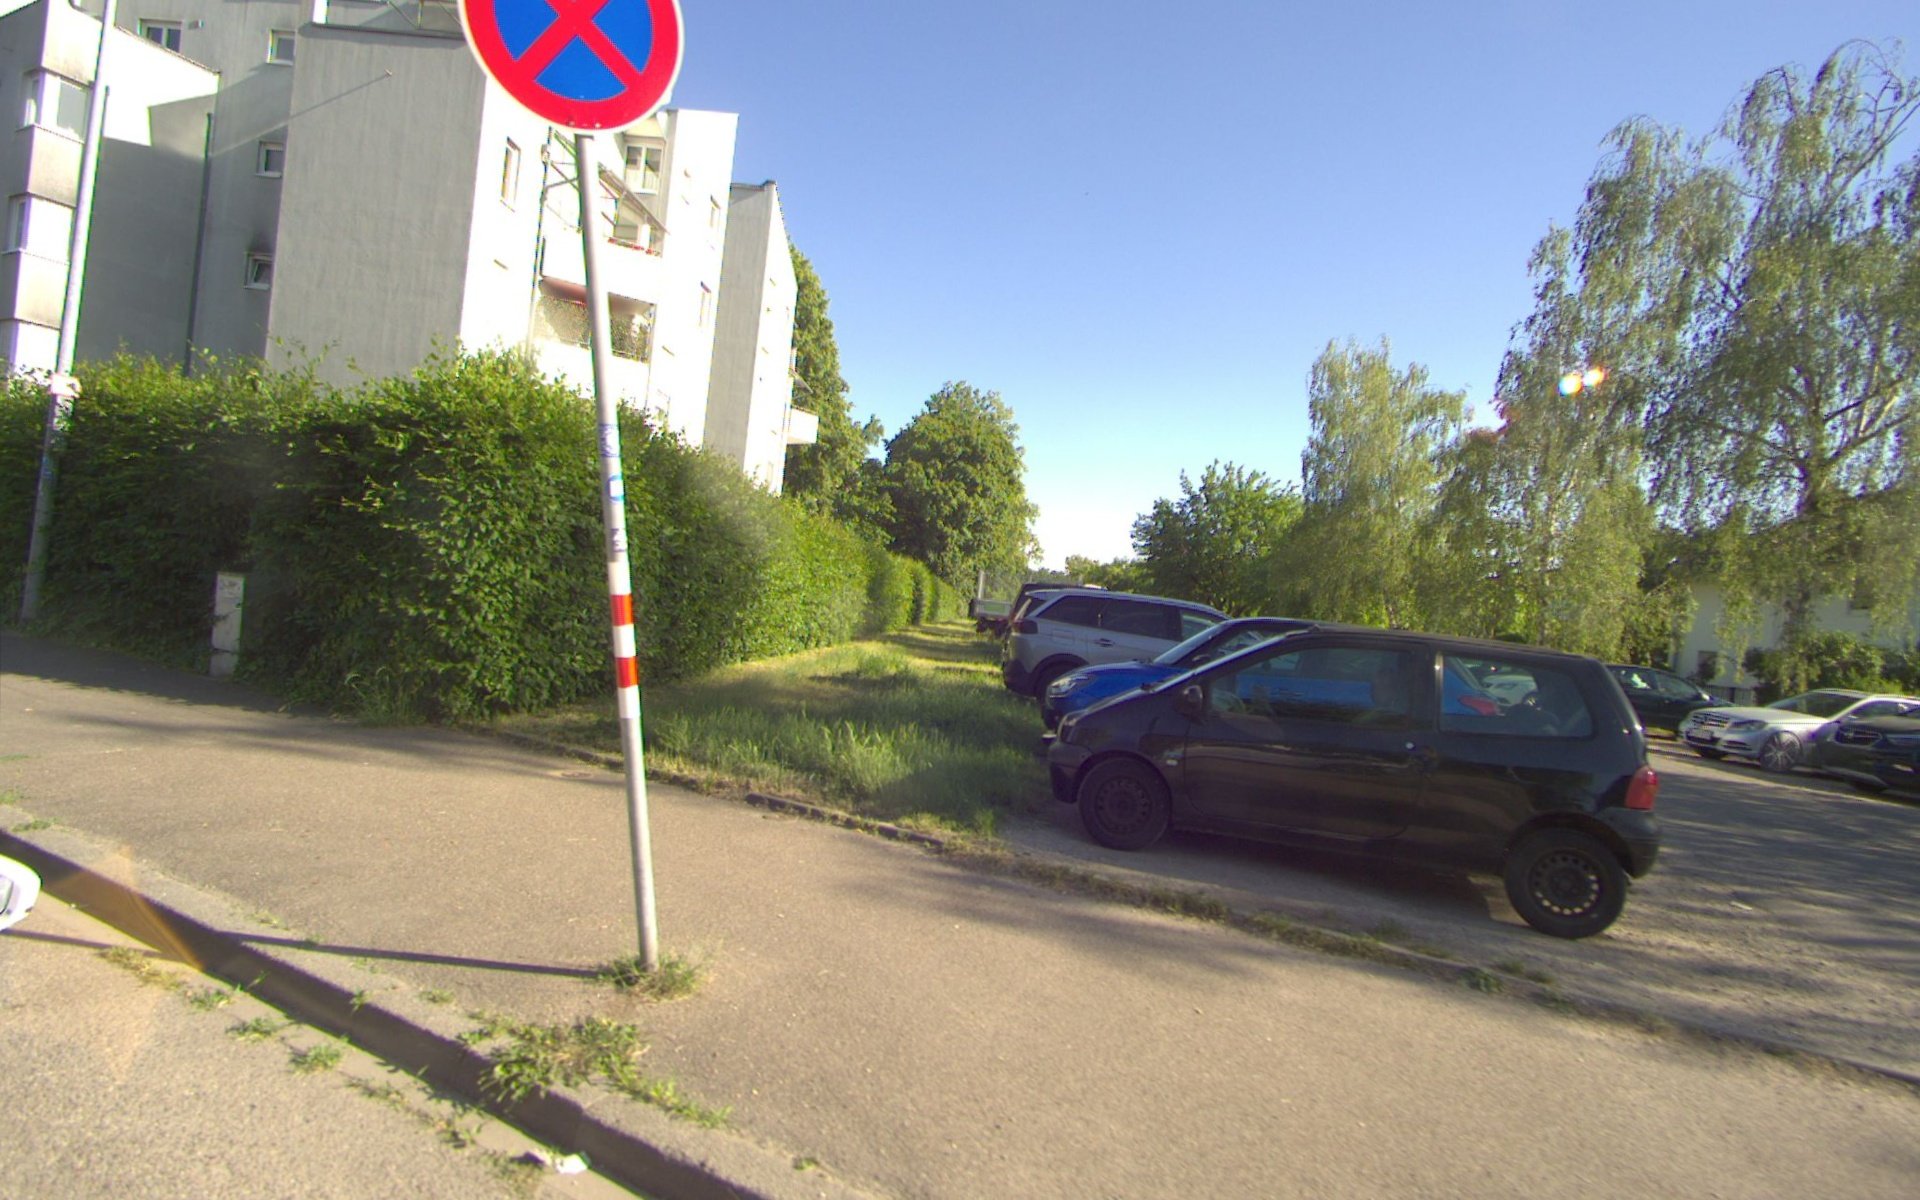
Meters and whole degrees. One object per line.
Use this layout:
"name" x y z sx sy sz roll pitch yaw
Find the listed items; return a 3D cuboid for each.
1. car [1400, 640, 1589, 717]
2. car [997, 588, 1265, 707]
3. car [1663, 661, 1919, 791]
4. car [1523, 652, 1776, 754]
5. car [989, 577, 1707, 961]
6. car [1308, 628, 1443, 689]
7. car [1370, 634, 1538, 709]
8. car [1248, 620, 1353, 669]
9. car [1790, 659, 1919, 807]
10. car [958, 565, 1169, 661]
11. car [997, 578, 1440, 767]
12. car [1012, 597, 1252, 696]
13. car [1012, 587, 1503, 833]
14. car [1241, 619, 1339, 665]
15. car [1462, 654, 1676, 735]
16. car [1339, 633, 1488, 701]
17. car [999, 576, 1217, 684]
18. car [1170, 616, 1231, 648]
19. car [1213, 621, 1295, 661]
"car" 14.126 2.052 26.787 3.924 1.418 1.798 7 0 7
"car" 2.704 0.756 16.633 4.078 1.473 1.619 5 0 2
"car" 14.153 2.078 16.377 4.042 1.519 1.789 7 2 -2
"car" 14.753 2.162 21.761 3.924 1.522 1.949 7 0 10
"car" 2.162 0.825 6.221 3.468 1.485 1.703 7 1 21
"car" 14.596 2.029 35.543 3.924 1.605 1.798 7 0 7
"car" 14.461 2.073 29.627 3.924 1.605 1.798 7 0 7
"car" 14.873 1.935 44.075 3.924 1.605 1.798 7 0 7
"car" 14.066 1.978 13.619 4.042 1.728 1.789 7 2 -2
"car" 3.170 0.394 31.556 6.159 2.174 2.411 7 1 2
"car" 3.085 0.824 12.671 4.912 1.676 1.784 6 1 10
"car" 3.330 0.884 20.003 4.381 1.352 1.847 7 0 6
"car" 2.451 0.846 8.817 3.621 1.516 1.651 6 1 13
"car" 15.361 1.947 46.951 3.924 1.605 1.798 7 0 7
"car" 14.584 2.243 24.323 3.924 1.293 1.799 7 0 10
"car" 14.628 2.136 32.639 3.924 1.605 1.798 7 0 7
"car" 3.270 0.639 22.428 4.450 1.793 1.847 7 1 9
"car" 17.308 2.302 72.534 3.924 1.729 1.798 7 0 7
"car" 16.015 2.225 55.031 3.924 1.605 1.798 7 0 7
